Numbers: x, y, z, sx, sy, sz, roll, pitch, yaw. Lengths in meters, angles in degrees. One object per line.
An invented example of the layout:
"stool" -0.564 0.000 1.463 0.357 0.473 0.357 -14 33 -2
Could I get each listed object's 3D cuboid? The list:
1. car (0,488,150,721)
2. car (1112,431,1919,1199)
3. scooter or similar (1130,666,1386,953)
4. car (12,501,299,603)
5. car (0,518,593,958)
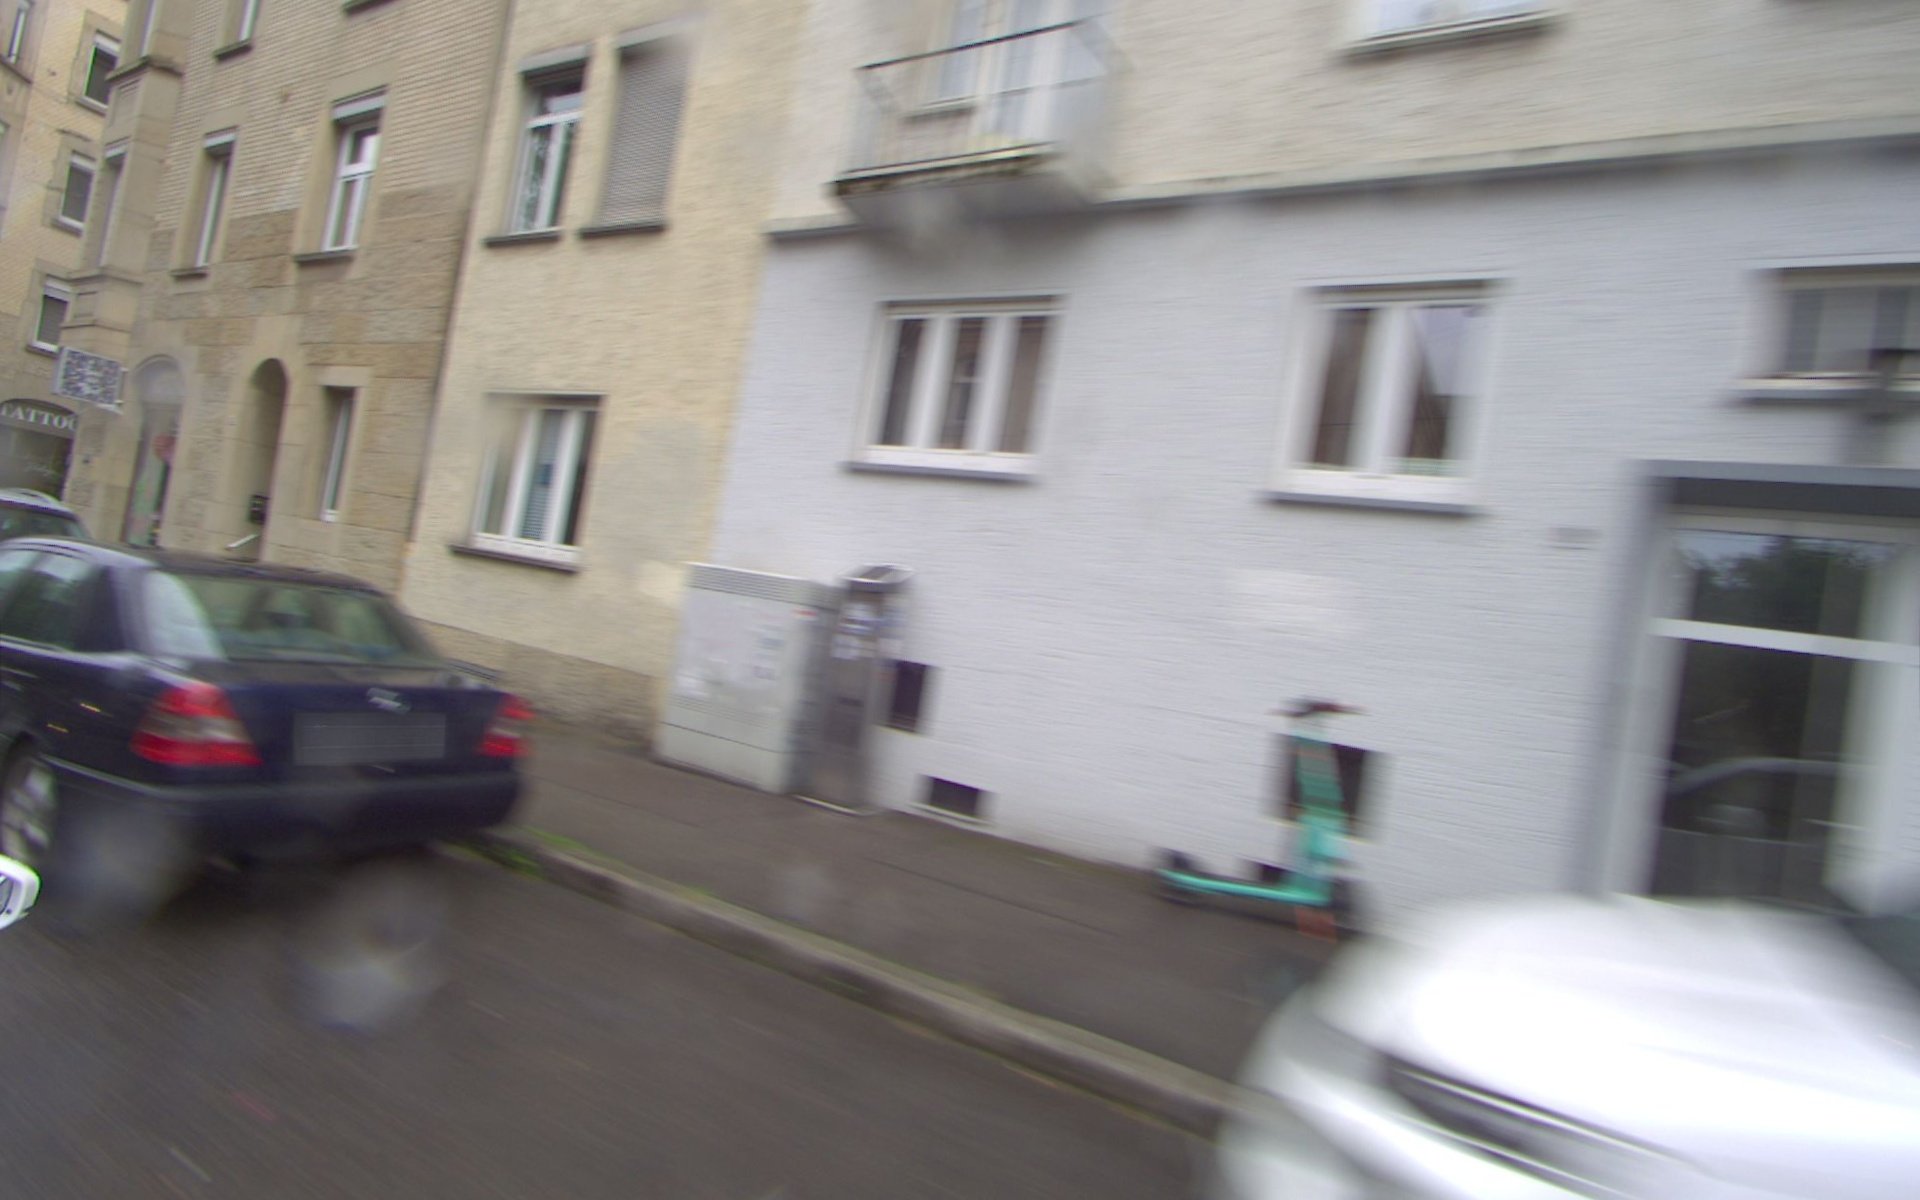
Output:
"car" -8.174 -0.175 7.725 3.934 1.546 1.697 7 -3 32
"car" 2.564 0.952 1.046 4.394 1.770 1.832 7 -2 33
"scooter or similar" 1.637 1.102 5.574 1.152 1.312 0.388 7 -1 32
"car" -17.340 -0.979 21.913 1.834 1.502 4.455 7 -1 34
"car" -4.156 0.400 5.213 4.387 1.361 1.723 7 -4 31
